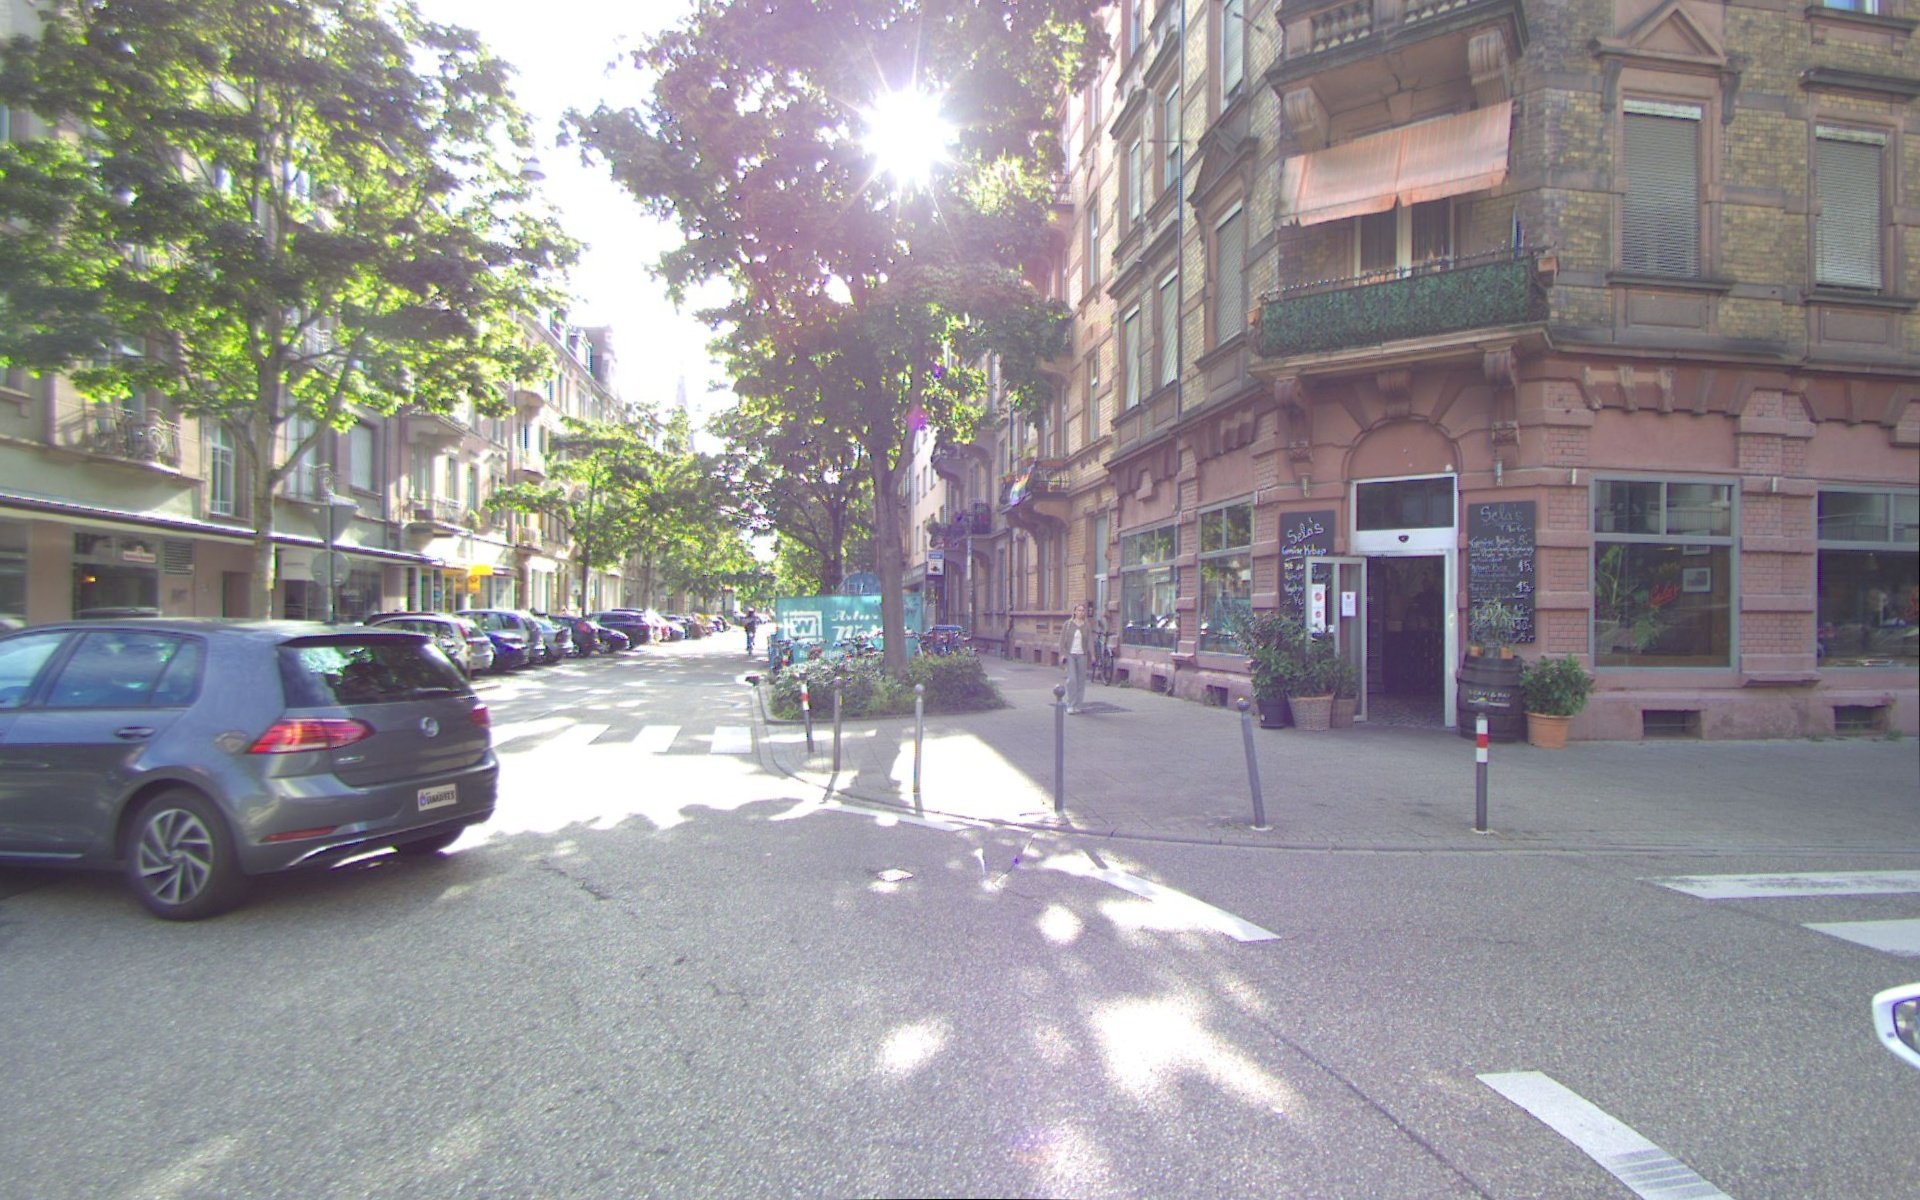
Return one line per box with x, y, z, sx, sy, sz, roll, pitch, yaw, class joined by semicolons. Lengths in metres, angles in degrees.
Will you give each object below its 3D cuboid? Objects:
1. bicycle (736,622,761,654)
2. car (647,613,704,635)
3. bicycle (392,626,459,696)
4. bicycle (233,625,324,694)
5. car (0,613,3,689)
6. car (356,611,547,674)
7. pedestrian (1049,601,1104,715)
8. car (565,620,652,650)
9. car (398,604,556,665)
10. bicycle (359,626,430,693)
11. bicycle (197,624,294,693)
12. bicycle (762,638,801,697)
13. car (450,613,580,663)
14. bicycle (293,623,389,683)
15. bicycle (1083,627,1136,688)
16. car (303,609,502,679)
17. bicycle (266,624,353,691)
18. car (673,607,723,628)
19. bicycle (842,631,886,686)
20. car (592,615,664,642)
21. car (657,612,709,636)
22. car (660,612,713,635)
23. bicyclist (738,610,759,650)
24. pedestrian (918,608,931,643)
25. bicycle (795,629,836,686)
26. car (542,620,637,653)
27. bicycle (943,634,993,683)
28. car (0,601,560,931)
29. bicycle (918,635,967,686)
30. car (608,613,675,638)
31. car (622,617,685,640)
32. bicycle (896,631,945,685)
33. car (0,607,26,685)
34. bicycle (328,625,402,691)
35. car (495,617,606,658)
-8.769;1.562;41.726;0.679;1.215;1.977;1;1;-3;bicycle
-18.018;1.518;63.663;3.278;1.333;1.405;0;-2;-9;car
-10.167;1.129;19.175;0.470;1.240;2.289;0;-1;-11;bicycle
-12.429;1.045;18.394;0.470;1.149;2.426;0;-1;-11;bicycle
-19.828;0.974;17.665;3.938;1.449;1.759;0;1;-19;car
-12.765;1.041;25.414;3.999;1.496;1.575;0;1;-9;car
1.716;0.835;14.839;0.603;1.599;0.809;-3;1;-4;pedestrian
-15.018;1.509;43.021;3.278;1.270;1.375;0;-2;-9;car
-13.308;0.920;27.856;3.631;1.618;1.575;0;1;-9;car
-10.671;1.083;19.029;0.470;1.173;2.287;0;-1;-11;bicycle
-12.946;1.027;18.281;0.470;1.149;2.426;0;-1;-11;bicycle
-3.572;1.322;20.044;0.581;1.043;2.136;-1;0;-14;bicycle
-13.263;1.133;30.053;3.278;1.462;1.375;0;-2;-9;car
-12.276;1.020;20.026;0.695;1.116;2.510;-1;-1;-9;bicycle
2.920;1.109;19.811;0.518;1.081;1.780;1;0;-8;bicycle
-12.650;0.968;22.992;3.631;1.496;1.575;0;1;-9;car
-11.960;1.024;18.555;0.470;1.149;2.426;0;-1;-11;bicycle
-20.024;1.332;76.999;3.652;1.492;1.801;0;1;-13;car
-2.013;1.186;20.869;0.581;1.025;2.071;-1;0;-14;bicycle
-17.012;1.462;51.610;3.278;1.333;1.405;0;-2;-9;car
-19.395;1.703;70.447;3.297;1.615;1.594;0;1;-8;car
-18.180;1.569;66.821;3.278;1.495;1.405;0;-2;-9;car
-8.768;1.233;41.684;0.679;1.608;1.127;1;1;-3;bicyclist
-1.691;1.223;48.220;0.559;1.705;0.626;0;-1;2;pedestrian
-2.923;1.129;20.179;0.581;1.043;2.071;-1;0;-14;bicycle
-14.440;1.432;39.283;3.278;1.270;1.375;0;-2;-9;car
0.147;1.277;22.359;0.581;0.981;2.071;-1;0;-14;bicycle
-4.622;0.772;5.803;3.919;1.456;1.799;1;-2;12;car
-0.395;1.280;21.786;0.581;0.981;2.071;-1;0;-14;bicycle
-17.379;1.376;54.833;3.278;1.333;1.405;0;-2;-9;car
-17.627;1.639;57.810;3.278;1.333;1.405;0;-2;-9;car
-0.848;1.183;21.032;0.581;1.025;2.071;-1;0;-14;bicycle
-21.513;0.944;19.939;3.938;1.572;1.759;0;1;-19;car
-11.172;1.058;18.940;0.470;1.149;2.259;0;-1;-11;bicycle
-14.052;1.285;34.569;3.278;1.350;1.375;0;-2;-9;car
